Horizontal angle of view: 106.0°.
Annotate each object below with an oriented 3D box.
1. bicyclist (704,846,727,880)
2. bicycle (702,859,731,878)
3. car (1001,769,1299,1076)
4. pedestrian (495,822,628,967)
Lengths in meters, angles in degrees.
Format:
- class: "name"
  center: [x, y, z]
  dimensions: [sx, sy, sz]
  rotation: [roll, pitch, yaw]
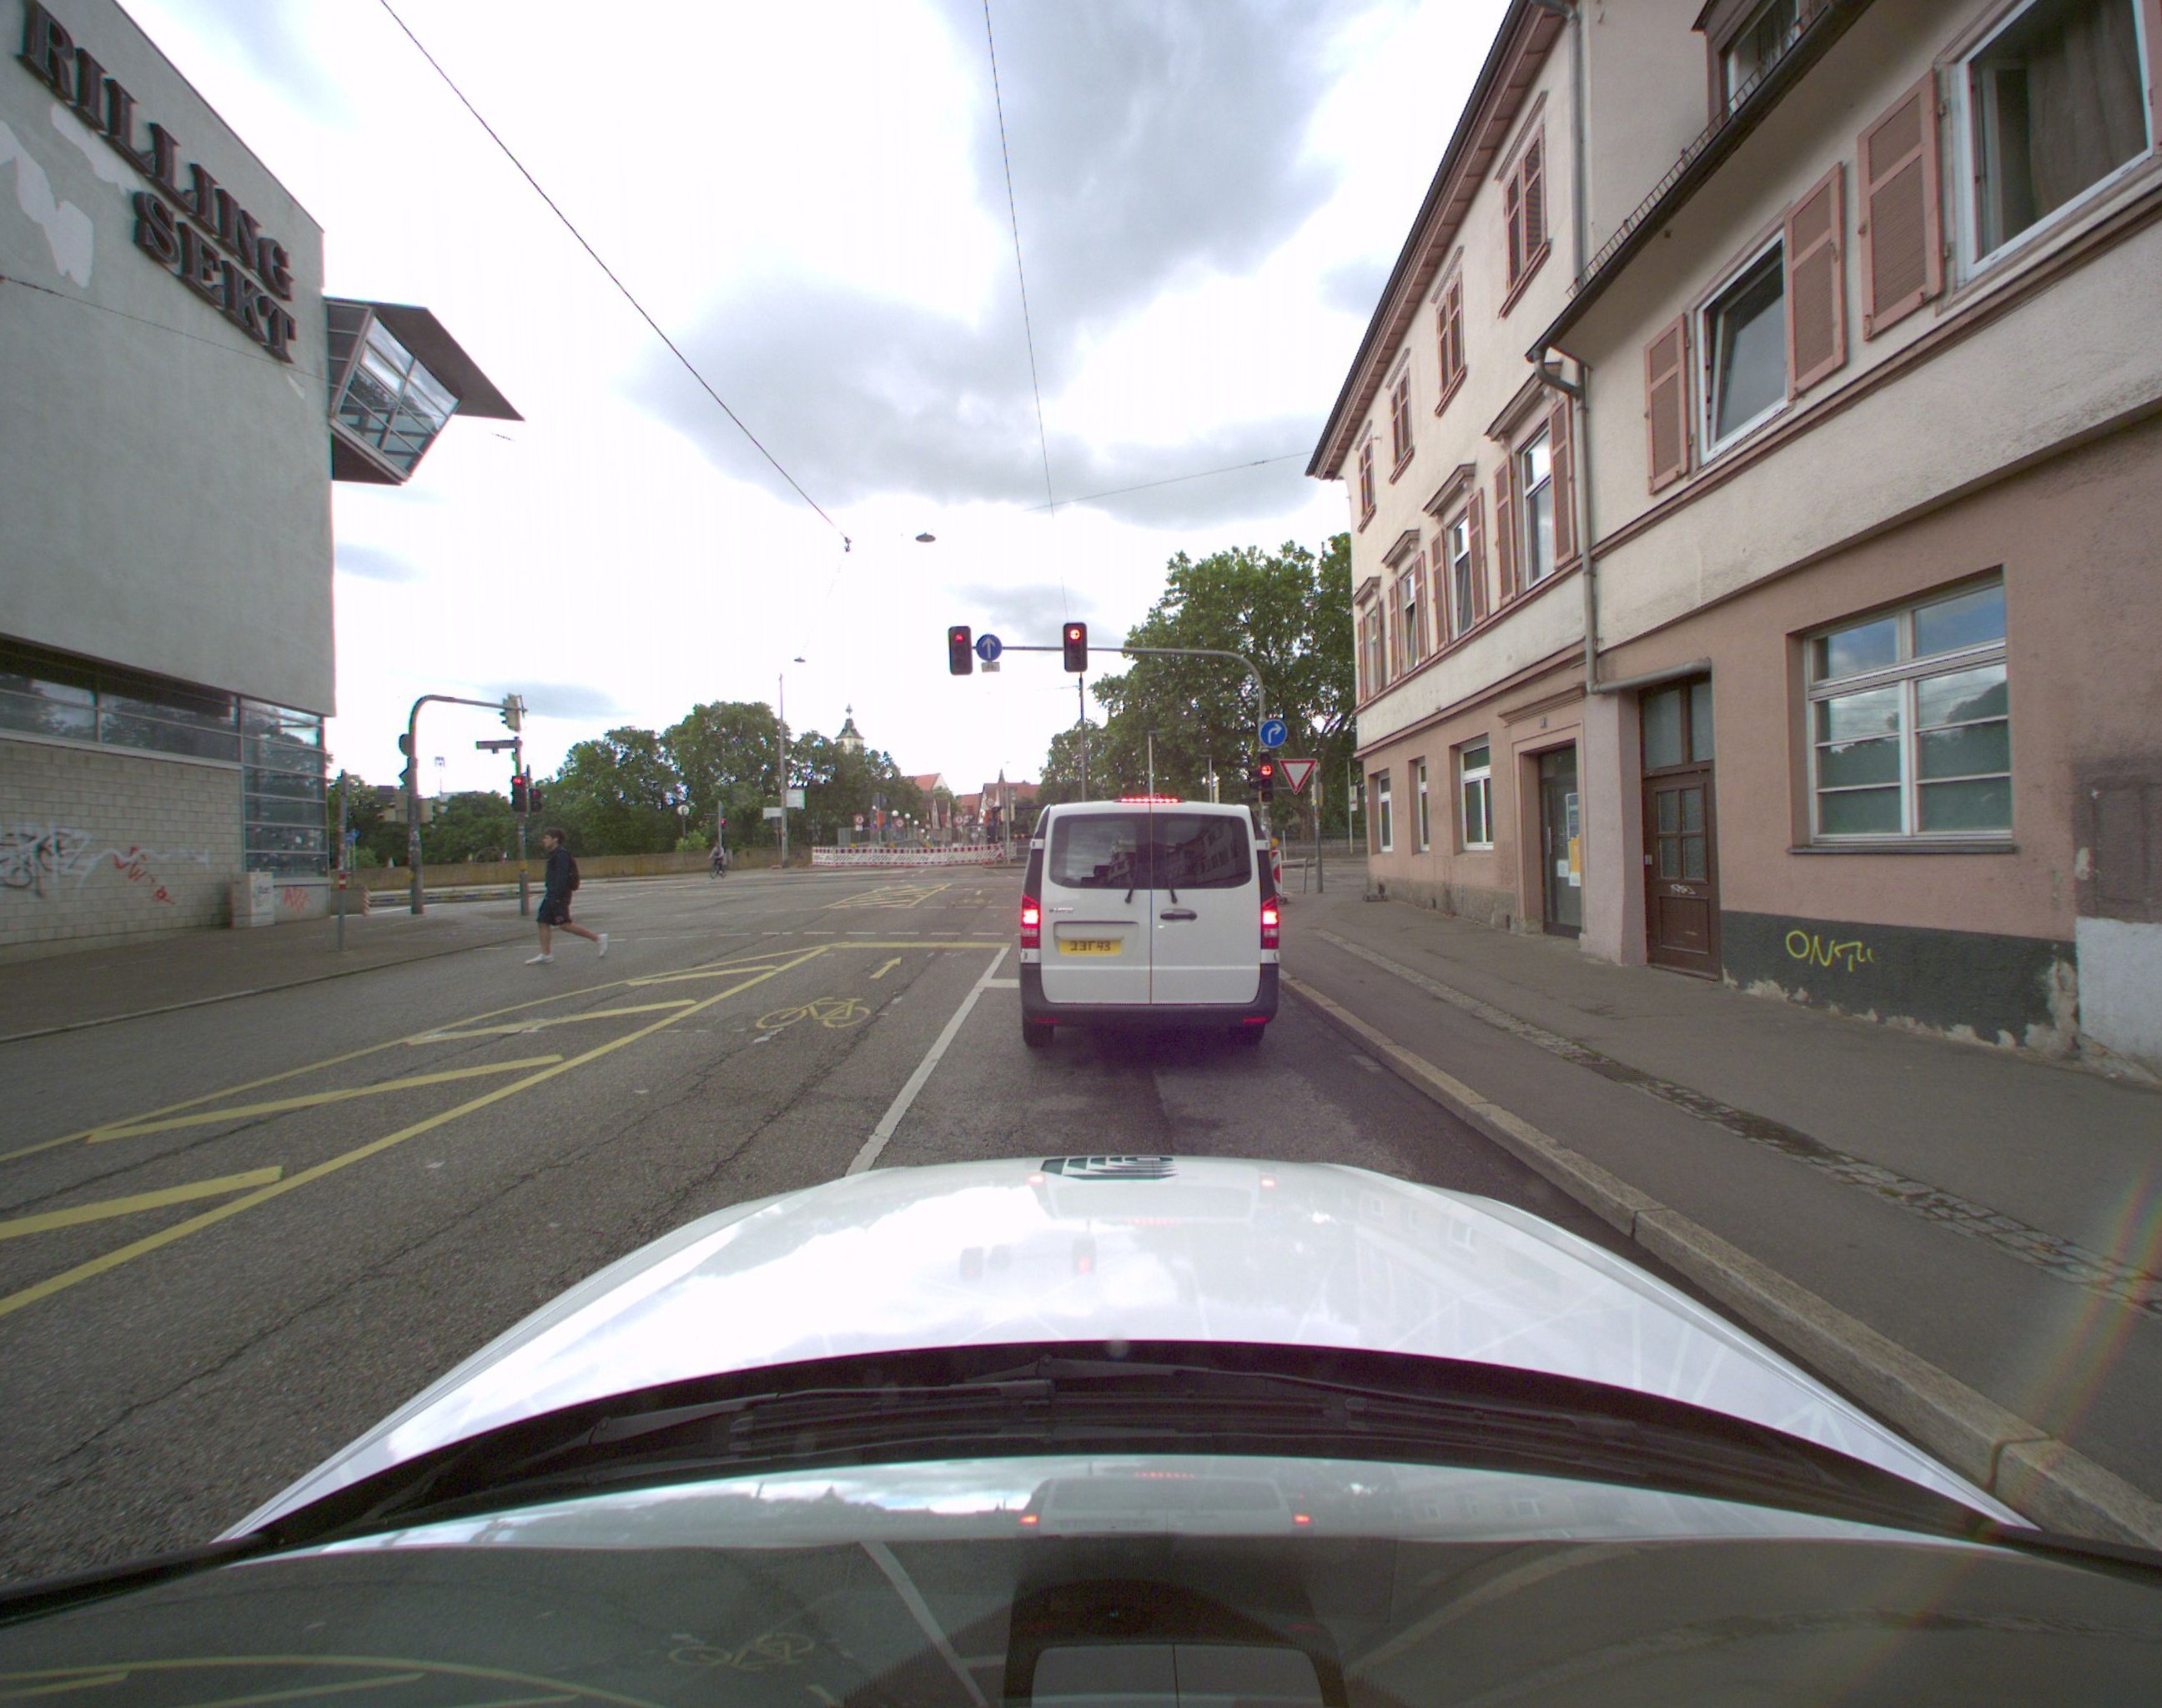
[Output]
- class: "bicyclist"
  center: [-18.300, 0.444, 40.774]
  dimensions: [0.721, 1.701, 0.811]
  rotation: [-2, 0, 0]
- class: "bicycle"
  center: [-18.281, 0.730, 40.915]
  dimensions: [0.539, 0.892, 1.881]
  rotation: [-2, 0, 1]
- class: "car"
  center: [0.530, 0.400, 7.710]
  dimensions: [1.943, 2.013, 4.700]
  rotation: [0, 1, 2]
- class: "pedestrian"
  center: [-7.068, 0.519, 11.157]
  dimensions: [1.084, 1.886, 1.058]
  rotation: [0, 1, 1]
